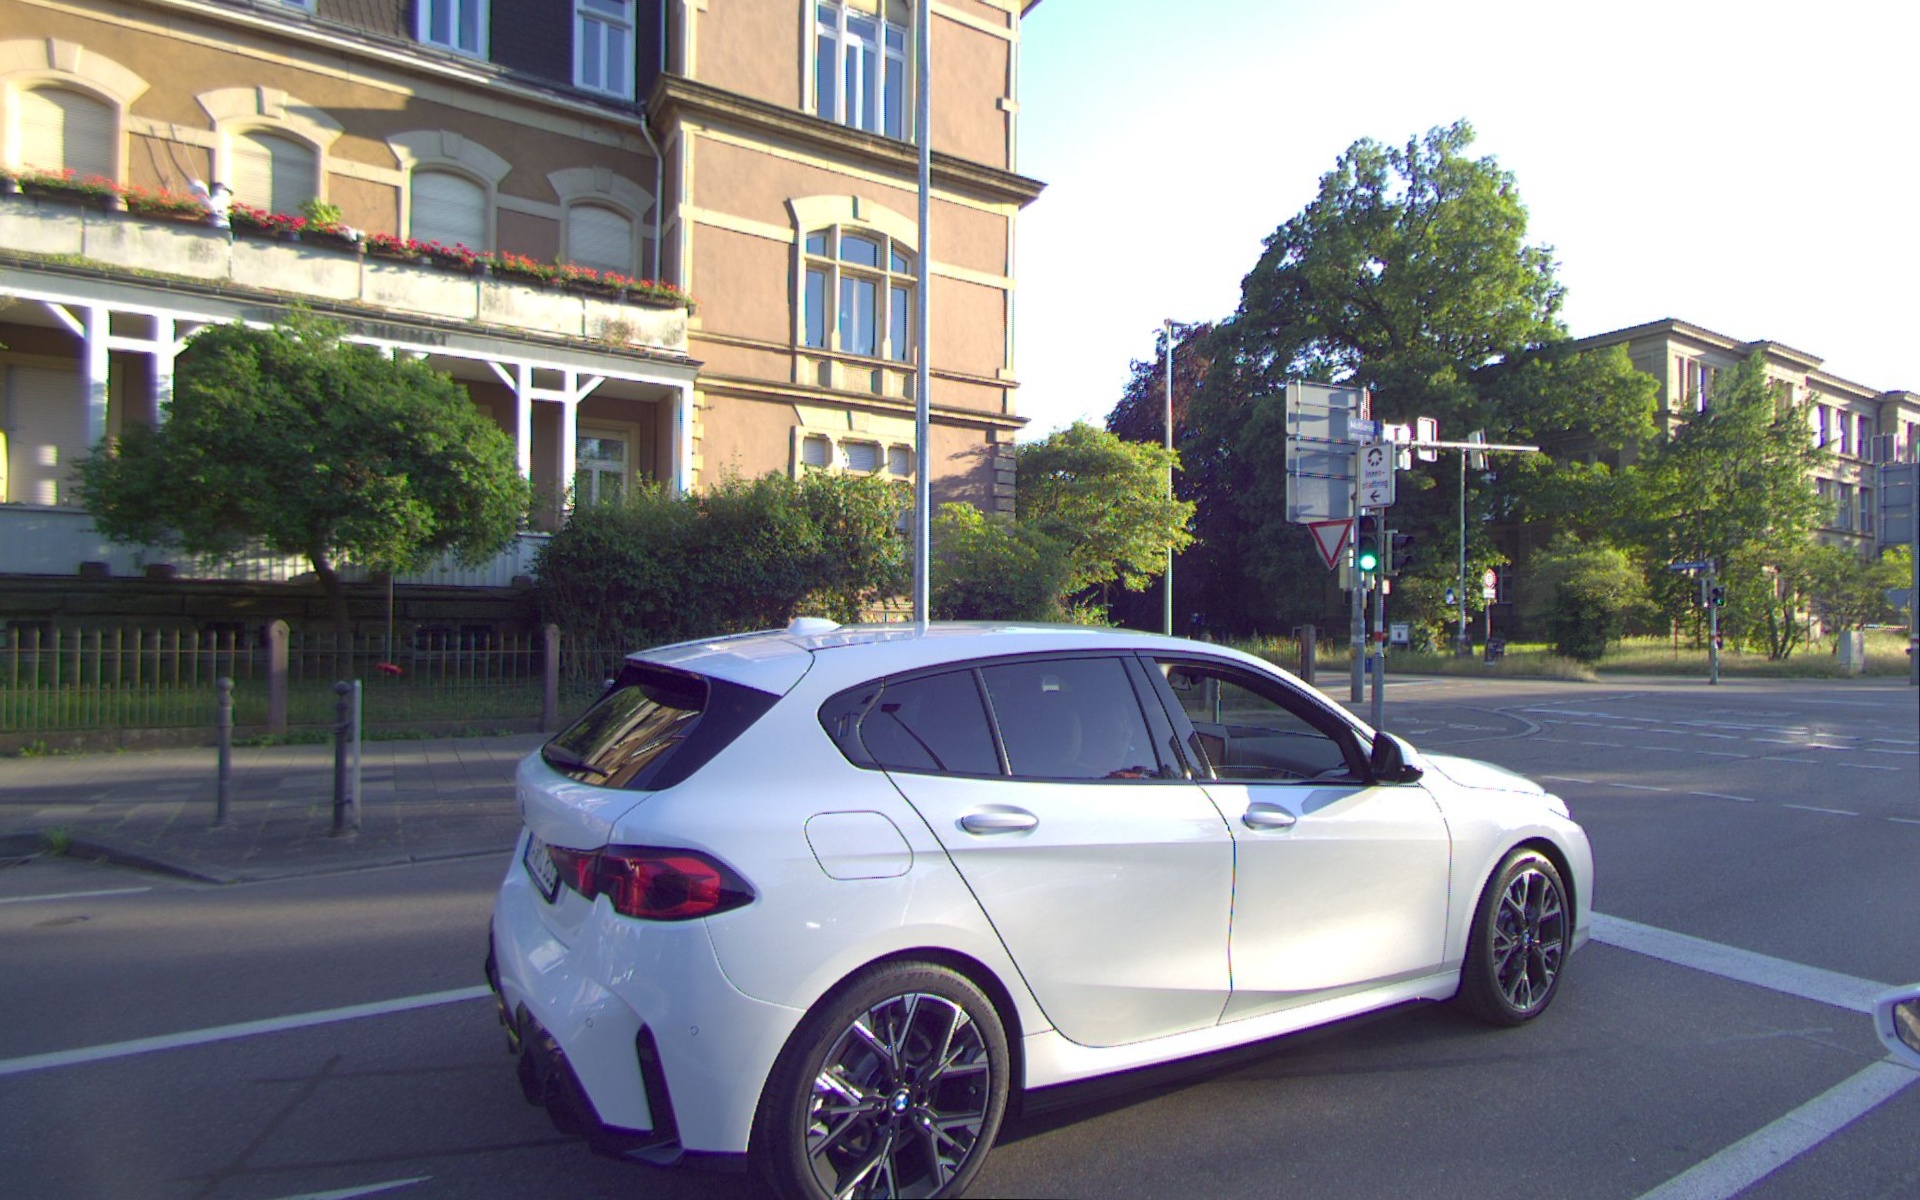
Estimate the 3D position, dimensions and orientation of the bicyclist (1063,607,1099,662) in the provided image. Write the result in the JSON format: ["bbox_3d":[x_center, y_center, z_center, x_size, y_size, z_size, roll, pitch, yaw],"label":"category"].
[{"bbox_3d":[3.763,1.062,31.244,0.646,1.654,0.907,2,0,-31],"label":"bicyclist"}]

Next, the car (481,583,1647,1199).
[{"bbox_3d":[0.588,0.776,3.756,4.141,1.485,1.743,2,-2,-31],"label":"car"}]

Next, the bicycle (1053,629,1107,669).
[{"bbox_3d":[3.719,1.511,31.299,0.653,1.104,1.887,1,0,-30],"label":"bicycle"}]

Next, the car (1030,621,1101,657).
[{"bbox_3d":[5.797,2.131,55.701,1.841,1.870,4.087,1,-2,-30],"label":"car"}]
